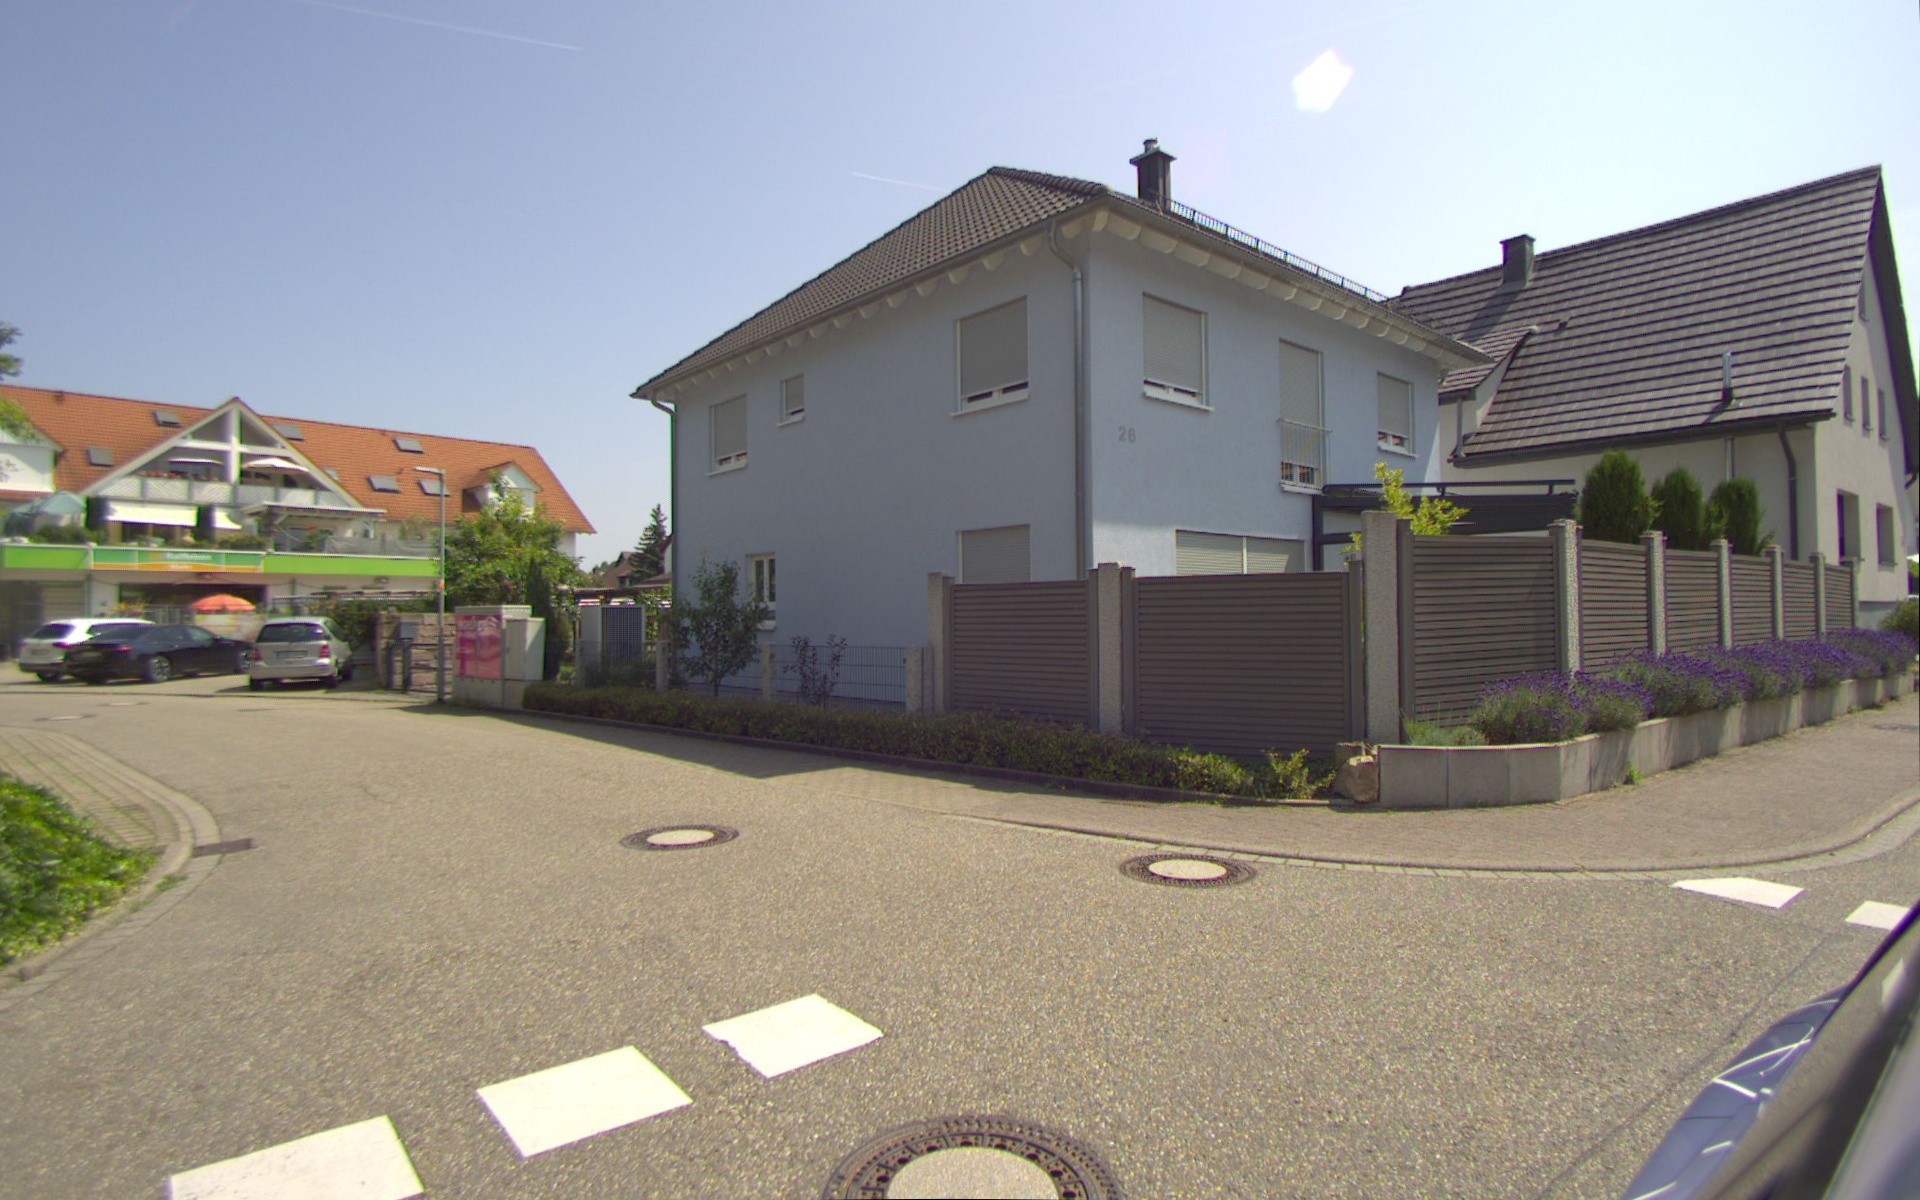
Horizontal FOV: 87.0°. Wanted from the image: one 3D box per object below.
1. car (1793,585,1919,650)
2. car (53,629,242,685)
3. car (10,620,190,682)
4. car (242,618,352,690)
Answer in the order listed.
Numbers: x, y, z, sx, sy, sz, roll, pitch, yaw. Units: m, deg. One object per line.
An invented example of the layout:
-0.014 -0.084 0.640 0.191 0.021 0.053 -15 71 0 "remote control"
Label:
22.676 0.415 24.492 1.734 1.493 3.663 1 0 -41 "car"
-21.311 1.446 26.769 1.672 1.323 3.997 0 -1 2 "car"
-24.048 1.369 28.496 1.671 1.620 3.999 0 -1 0 "car"
-15.427 1.187 23.738 1.668 1.521 4.102 0 -1 -26 "car"
